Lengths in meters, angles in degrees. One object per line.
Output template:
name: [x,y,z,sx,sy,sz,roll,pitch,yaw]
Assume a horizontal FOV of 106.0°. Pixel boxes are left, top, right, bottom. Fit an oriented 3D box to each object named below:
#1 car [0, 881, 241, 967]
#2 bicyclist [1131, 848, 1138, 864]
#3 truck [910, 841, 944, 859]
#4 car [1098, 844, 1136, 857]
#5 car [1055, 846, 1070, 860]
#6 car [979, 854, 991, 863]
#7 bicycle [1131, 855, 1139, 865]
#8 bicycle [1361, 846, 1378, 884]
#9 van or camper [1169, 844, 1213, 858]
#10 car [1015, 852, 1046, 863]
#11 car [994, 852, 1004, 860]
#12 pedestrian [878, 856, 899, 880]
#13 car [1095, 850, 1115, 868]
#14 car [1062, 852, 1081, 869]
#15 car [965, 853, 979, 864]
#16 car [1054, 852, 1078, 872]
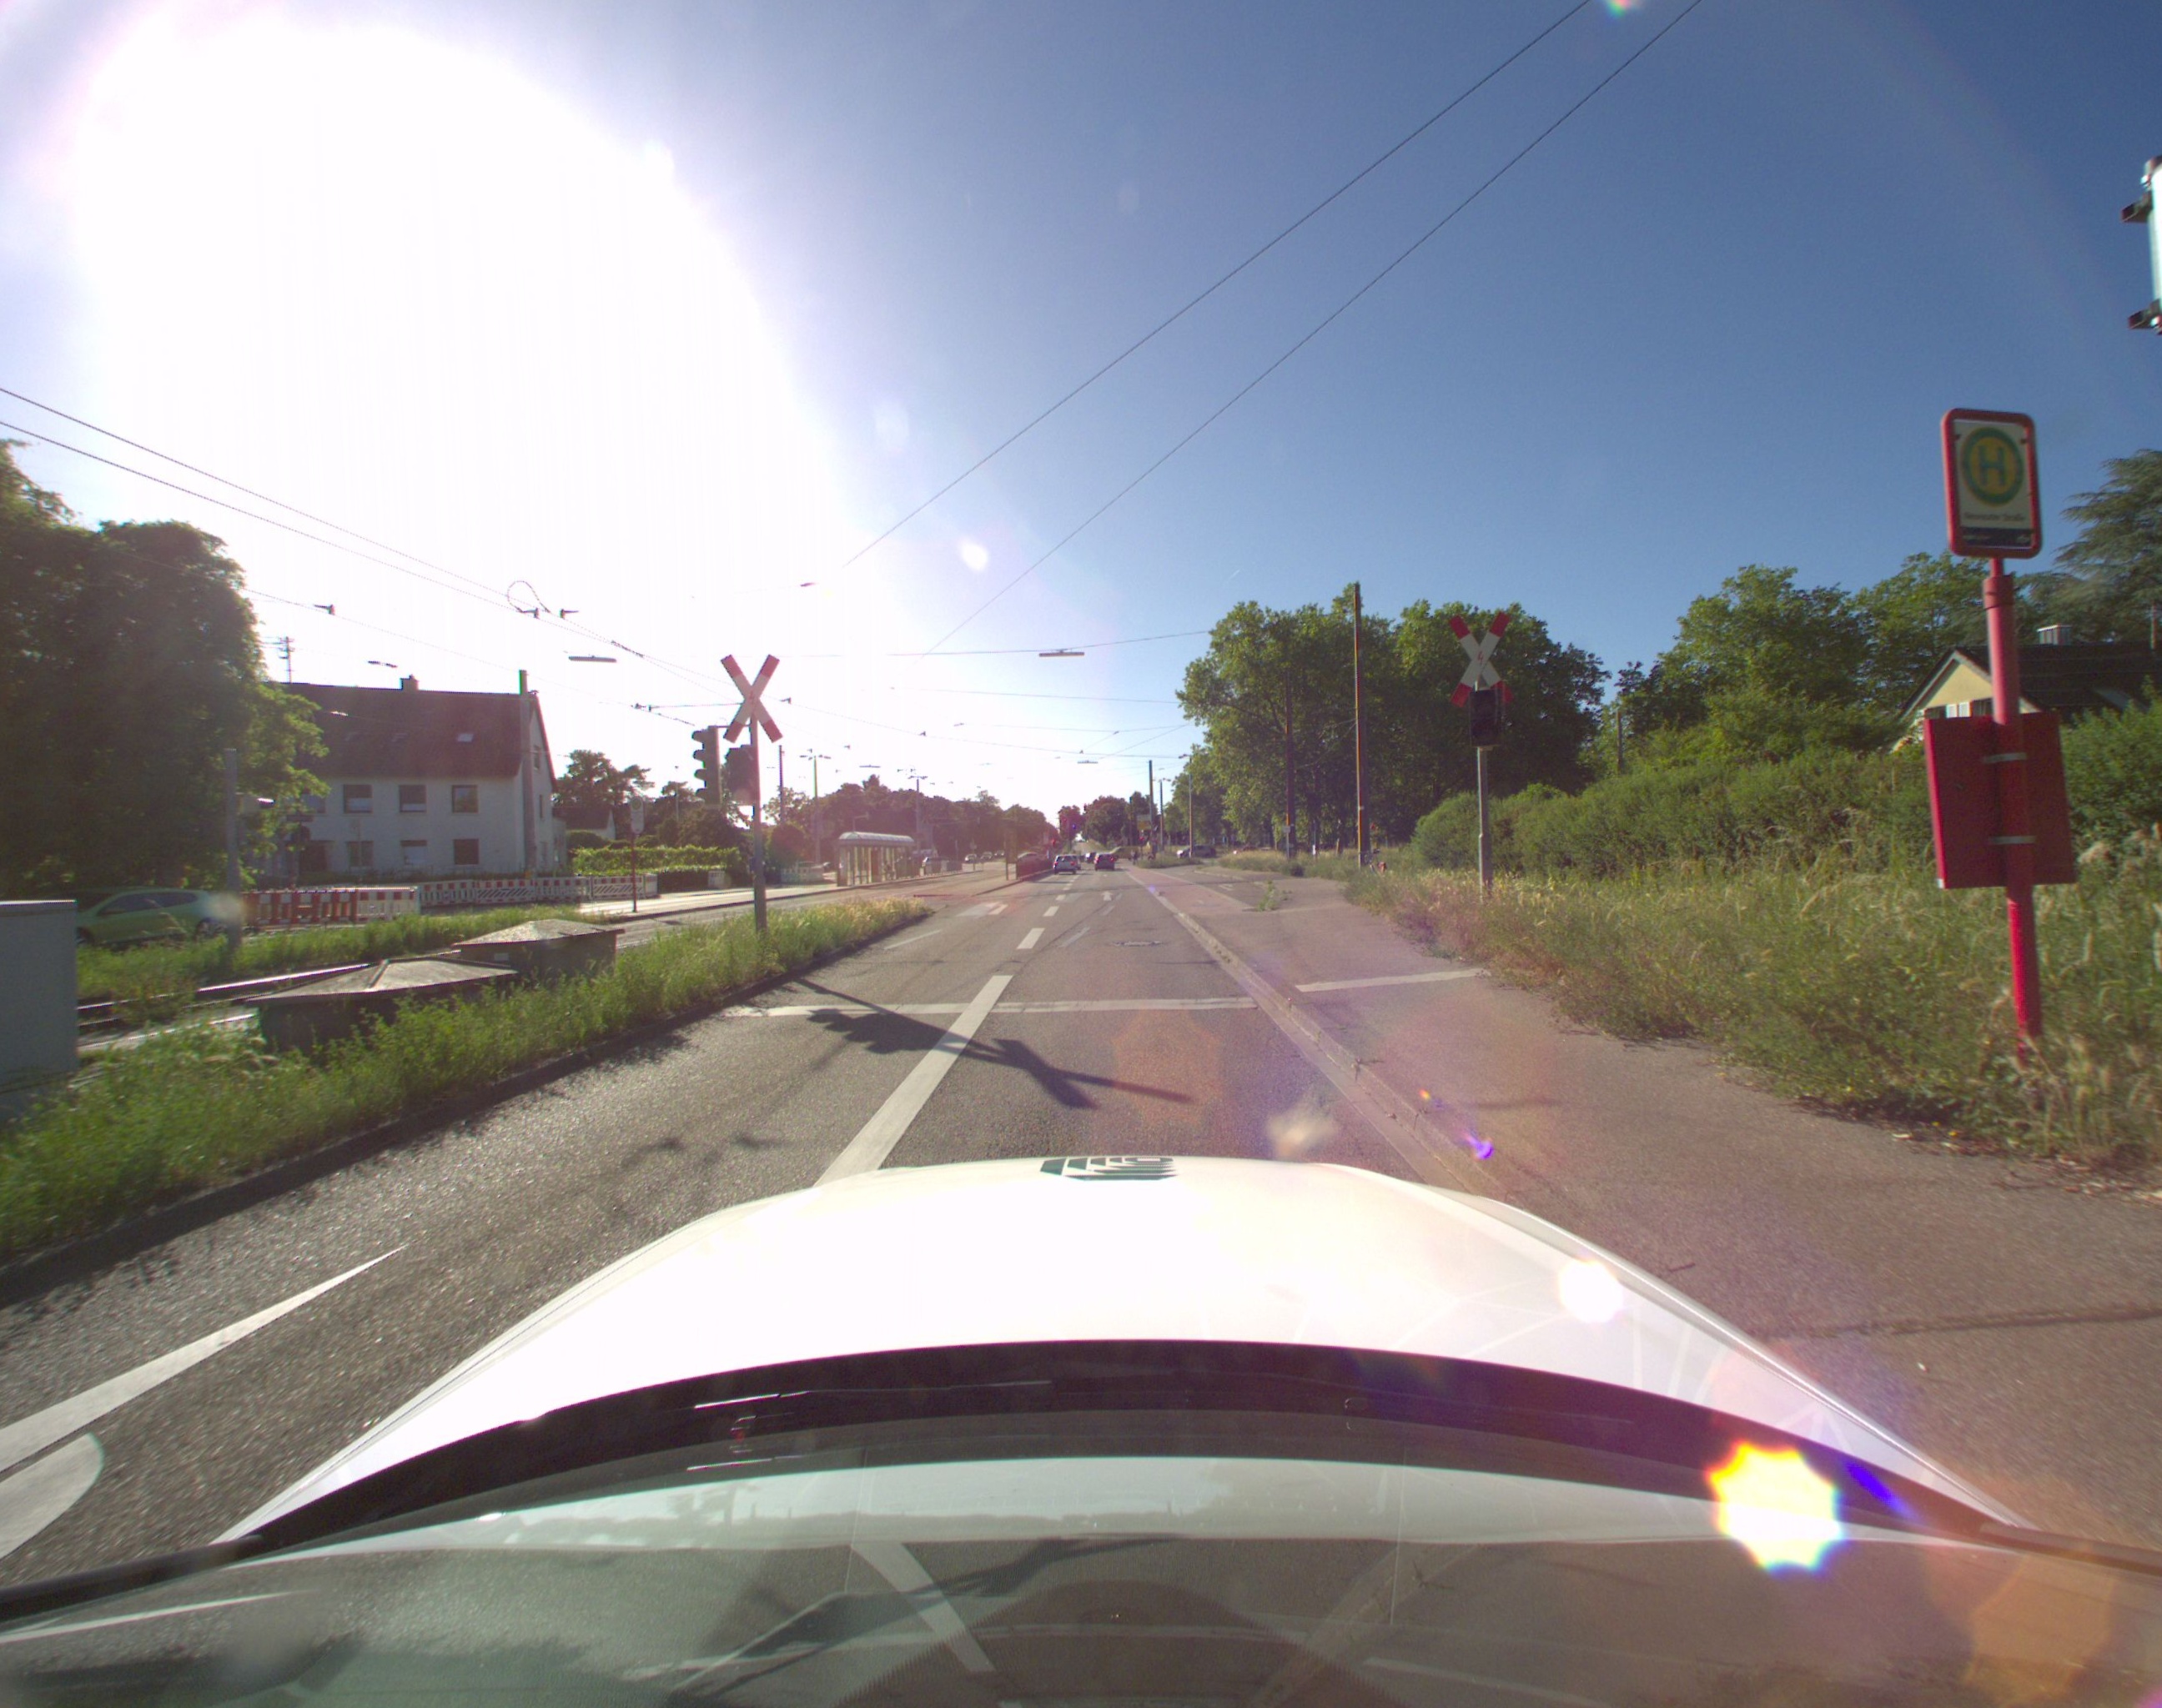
car: [-21.029,1.392,17.366,1.987,1.501,4.069,0,0,0]
bicyclist: [5.645,0.227,85.439,0.663,1.716,0.948,0,-1,1]
truck: [-23.458,-0.622,124.669,1.977,2.565,6.855,-2,0,18]
car: [5.293,-0.493,119.116,5.181,1.879,1.983,0,-1,-26]
car: [-2.747,-0.129,122.277,1.986,2.014,4.493,0,0,2]
car: [-17.003,0.745,144.658,1.829,1.548,4.277,-2,0,-5]
bicycle: [5.649,0.634,85.516,0.719,0.989,2.876,0,0,1]
bicycle: [8.853,0.315,25.008,0.362,1.135,2.105,-2,0,17]
van or camper: [15.595,-0.458,115.739,5.956,1.828,1.997,-2,0,-4]
car: [-7.060,0.451,113.495,4.000,1.473,1.740,0,-1,-20]
car: [-16.418,0.384,163.634,1.991,1.604,4.746,-1,0,-6]
pedestrian: [-12.570,0.912,53.162,1.057,1.453,1.007,-2,-1,1]
car: [2.059,0.444,71.501,1.662,1.462,3.587,-1,0,1]
car: [-0.861,0.608,77.097,1.613,1.457,4.086,-1,0,2]
car: [-16.748,0.729,125.067,1.829,1.548,3.993,-2,0,-5]
car: [-1.104,0.573,61.845,1.613,1.417,3.352,-2,0,1]
